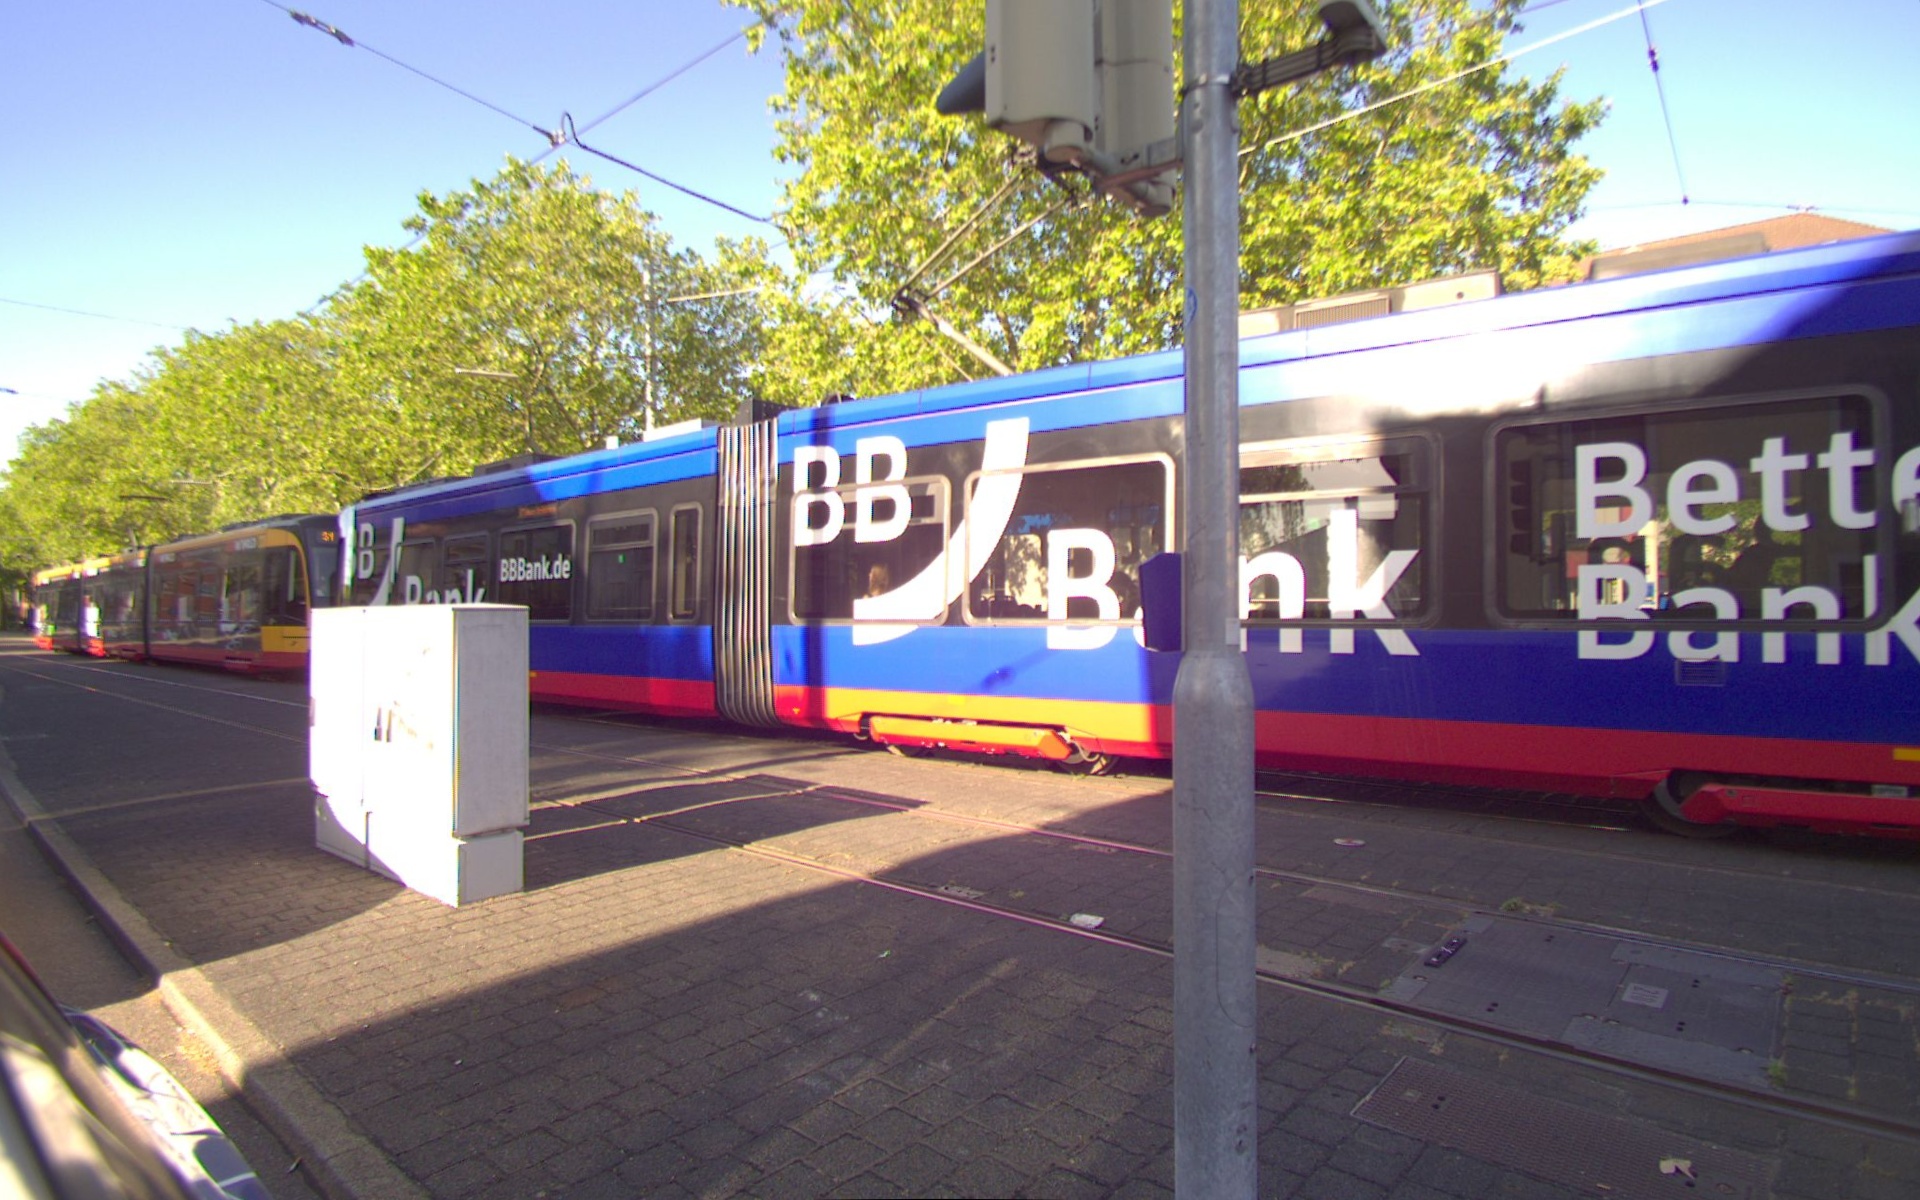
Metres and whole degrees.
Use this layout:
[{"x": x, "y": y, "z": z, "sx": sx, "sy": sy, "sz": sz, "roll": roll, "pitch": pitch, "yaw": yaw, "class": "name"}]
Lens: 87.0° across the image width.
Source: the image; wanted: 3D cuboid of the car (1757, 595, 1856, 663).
[{"x": 20.658, "y": 0.679, "z": 24.723, "sx": 1.716, "sy": 1.497, "sz": 4.162, "roll": -1, "pitch": -1, "yaw": 40, "class": "car"}]

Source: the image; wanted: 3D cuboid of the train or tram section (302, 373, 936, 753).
[{"x": -5.858, "y": -0.245, "z": 14.798, "sx": 12.106, "sy": 3.640, "sz": 3.024, "roll": -1, "pitch": -1, "yaw": 41, "class": "train or tram section"}]

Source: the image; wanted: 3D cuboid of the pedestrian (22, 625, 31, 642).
[{"x": -90.064, "y": 3.194, "z": 97.598, "sx": 0.677, "sy": 1.654, "sz": 0.570, "roll": -1, "pitch": -2, "yaw": 43, "class": "pedestrian"}]

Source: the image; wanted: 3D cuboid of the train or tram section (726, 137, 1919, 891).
[{"x": 3.698, "y": -0.370, "z": 7.387, "sx": 12.472, "sy": 3.640, "sz": 3.029, "roll": -1, "pitch": -1, "yaw": 35, "class": "train or tram section"}]

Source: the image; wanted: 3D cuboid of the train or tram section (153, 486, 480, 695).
[{"x": -14.915, "y": -0.051, "z": 22.742, "sx": 12.110, "sy": 3.640, "sz": 3.023, "roll": -1, "pitch": -2, "yaw": 42, "class": "train or tram section"}]

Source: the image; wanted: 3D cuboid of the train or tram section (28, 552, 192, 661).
[{"x": -33.065, "y": 0.332, "z": 39.065, "sx": 12.884, "sy": 3.640, "sz": 3.023, "roll": -1, "pitch": -2, "yaw": 42, "class": "train or tram section"}]

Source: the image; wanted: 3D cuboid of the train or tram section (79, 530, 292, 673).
[{"x": -23.869, "y": 0.148, "z": 30.792, "sx": 11.946, "sy": 3.640, "sz": 3.022, "roll": -1, "pitch": -2, "yaw": 42, "class": "train or tram section"}]
